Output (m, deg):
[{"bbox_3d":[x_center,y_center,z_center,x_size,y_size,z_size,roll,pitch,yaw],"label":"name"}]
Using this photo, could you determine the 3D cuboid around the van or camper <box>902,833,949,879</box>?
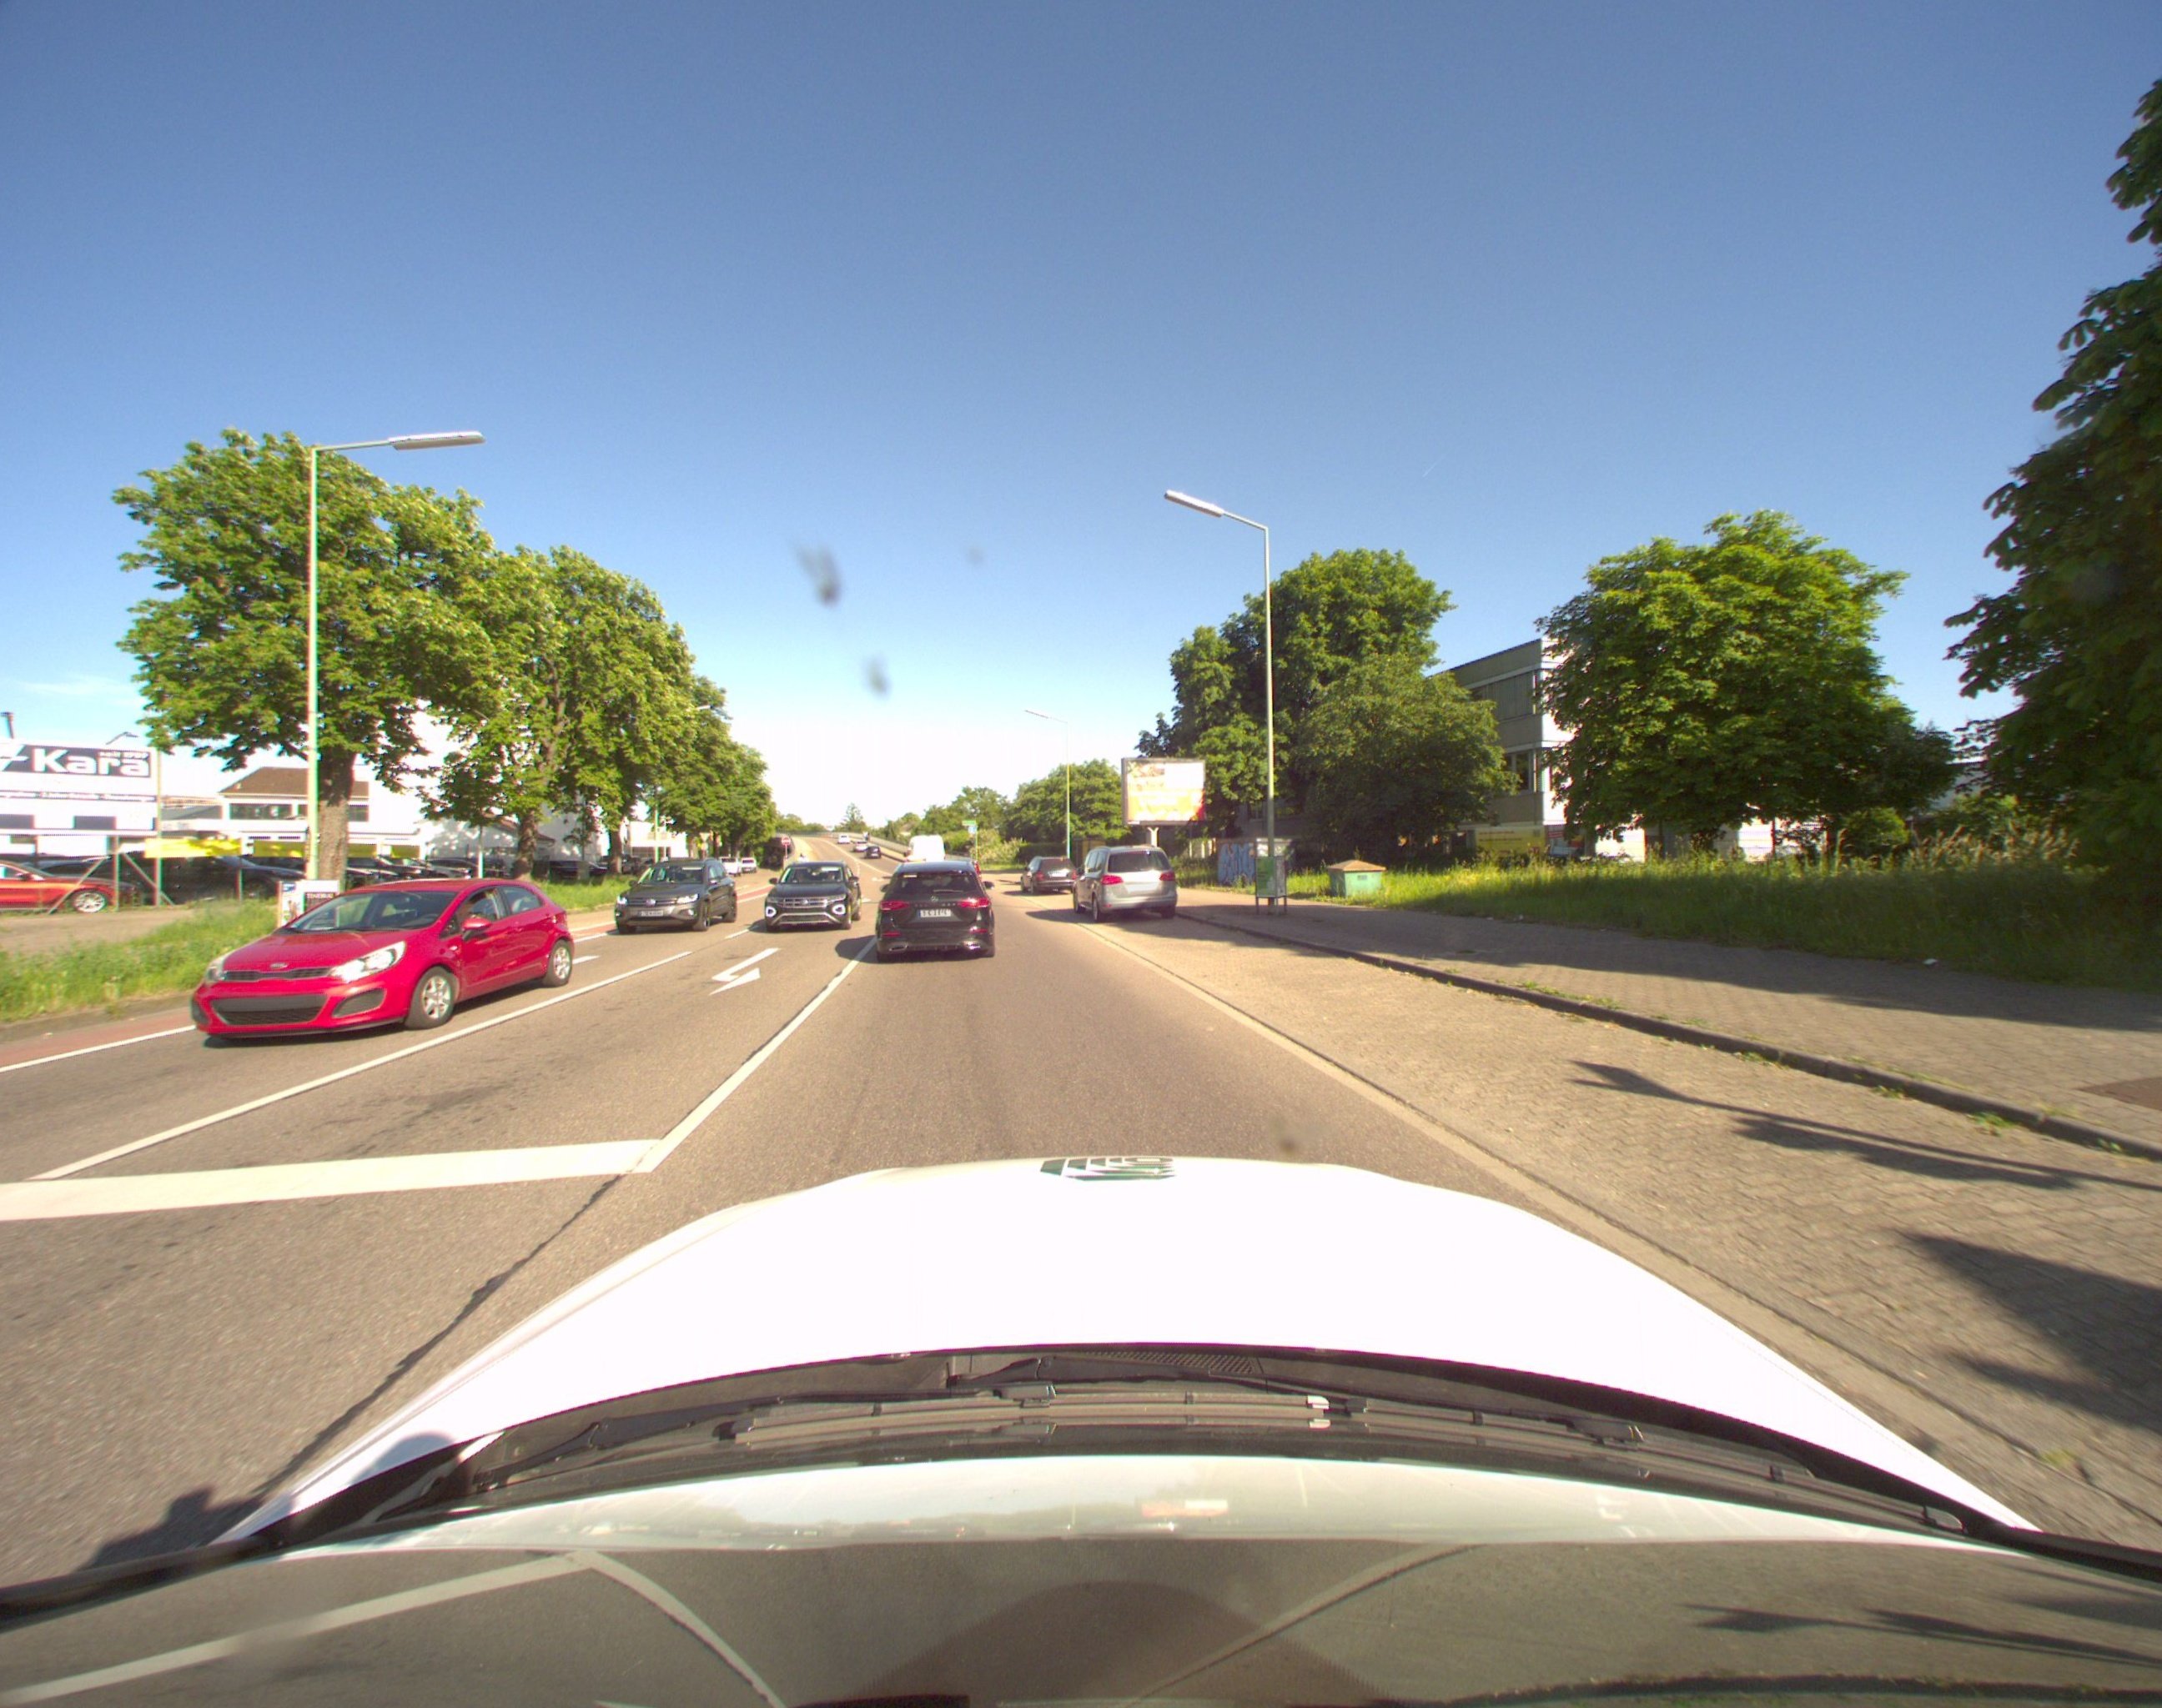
[{"bbox_3d":[-10.056,0.075,52.127,2.231,2.739,7.040,0,1,-17],"label":"van or camper"}]

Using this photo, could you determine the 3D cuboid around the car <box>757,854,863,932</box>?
[{"bbox_3d":[-6.249,0.825,19.205,1.914,1.599,3.984,-1,0,-12],"label":"car"}]

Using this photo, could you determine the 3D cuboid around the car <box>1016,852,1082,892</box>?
[{"bbox_3d":[-1.328,0.657,31.944,1.810,1.419,4.405,-1,0,-13],"label":"car"}]

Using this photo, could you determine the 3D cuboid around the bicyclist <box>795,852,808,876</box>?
[{"bbox_3d":[-16.916,0.600,49.306,0.774,1.484,0.820,0,0,-18],"label":"bicyclist"}]

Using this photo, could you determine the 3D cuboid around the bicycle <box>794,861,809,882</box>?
[{"bbox_3d":[-16.897,1.048,49.264,0.795,1.225,3.193,-1,0,-18],"label":"bicycle"}]

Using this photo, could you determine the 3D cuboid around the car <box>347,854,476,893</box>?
[{"bbox_3d":[-29.364,0.809,35.876,4.008,1.610,1.906,0,1,-26],"label":"car"}]

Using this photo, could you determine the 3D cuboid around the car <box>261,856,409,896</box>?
[{"bbox_3d":[-28.507,0.794,31.303,3.893,1.412,1.927,-1,1,-32],"label":"car"}]

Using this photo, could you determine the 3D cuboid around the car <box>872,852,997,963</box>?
[{"bbox_3d":[-2.352,0.777,13.779,1.768,1.592,3.979,0,0,-7],"label":"car"}]

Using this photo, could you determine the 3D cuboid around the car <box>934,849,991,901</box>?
[{"bbox_3d":[-4.023,0.688,28.171,1.802,1.640,3.991,-1,-1,-6],"label":"car"}]

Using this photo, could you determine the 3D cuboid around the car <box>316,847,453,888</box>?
[{"bbox_3d":[-28.374,0.520,33.351,4.015,1.560,1.979,-1,1,-34],"label":"car"}]

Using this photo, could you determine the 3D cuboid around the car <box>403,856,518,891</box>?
[{"bbox_3d":[-30.373,0.896,40.062,4.427,1.575,1.794,-1,1,-35],"label":"car"}]

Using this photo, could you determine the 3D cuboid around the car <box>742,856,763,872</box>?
[{"bbox_3d":[-41.418,1.230,102.719,1.927,1.991,4.235,0,1,-15],"label":"car"}]

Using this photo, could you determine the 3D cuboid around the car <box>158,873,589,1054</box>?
[{"bbox_3d":[-7.255,0.981,8.987,1.784,1.414,3.878,-1,0,-9],"label":"car"}]

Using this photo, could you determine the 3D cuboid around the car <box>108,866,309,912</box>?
[{"bbox_3d":[-27.376,1.064,25.785,3.948,1.240,2.023,-1,1,-34],"label":"car"}]

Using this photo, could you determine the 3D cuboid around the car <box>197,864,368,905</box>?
[{"bbox_3d":[-27.833,1.035,28.606,3.948,1.240,2.023,-1,1,-34],"label":"car"}]

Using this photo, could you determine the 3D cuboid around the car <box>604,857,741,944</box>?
[{"bbox_3d":[-9.523,0.991,19.352,1.854,1.735,4.253,-1,1,-12],"label":"car"}]

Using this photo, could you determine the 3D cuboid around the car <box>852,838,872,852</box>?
[{"bbox_3d":[-28.195,-1.130,105.054,1.993,1.680,3.988,-2,0,-9],"label":"car"}]

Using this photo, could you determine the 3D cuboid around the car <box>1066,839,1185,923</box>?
[{"bbox_3d":[0.949,0.587,20.004,1.873,1.722,4.596,-3,0,-10],"label":"car"}]

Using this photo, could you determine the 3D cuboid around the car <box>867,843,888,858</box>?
[{"bbox_3d":[-22.834,-0.378,91.534,1.919,1.488,4.254,-2,0,-10],"label":"car"}]

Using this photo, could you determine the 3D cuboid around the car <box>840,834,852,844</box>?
[{"bbox_3d":[-37.507,-2.400,129.973,1.881,1.543,3.977,0,1,-17],"label":"car"}]

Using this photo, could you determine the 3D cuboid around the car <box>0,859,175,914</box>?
[{"bbox_3d":[-27.620,0.826,21.350,2.331,1.310,5.091,0,1,44],"label":"car"}]

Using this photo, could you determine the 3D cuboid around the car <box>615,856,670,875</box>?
[{"bbox_3d":[-36.887,0.958,68.510,1.762,1.510,3.691,0,1,45],"label":"car"}]

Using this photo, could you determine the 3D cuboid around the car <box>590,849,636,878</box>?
[{"bbox_3d":[-33.588,0.659,58.593,1.751,1.930,5.073,-1,0,-17],"label":"car"}]
